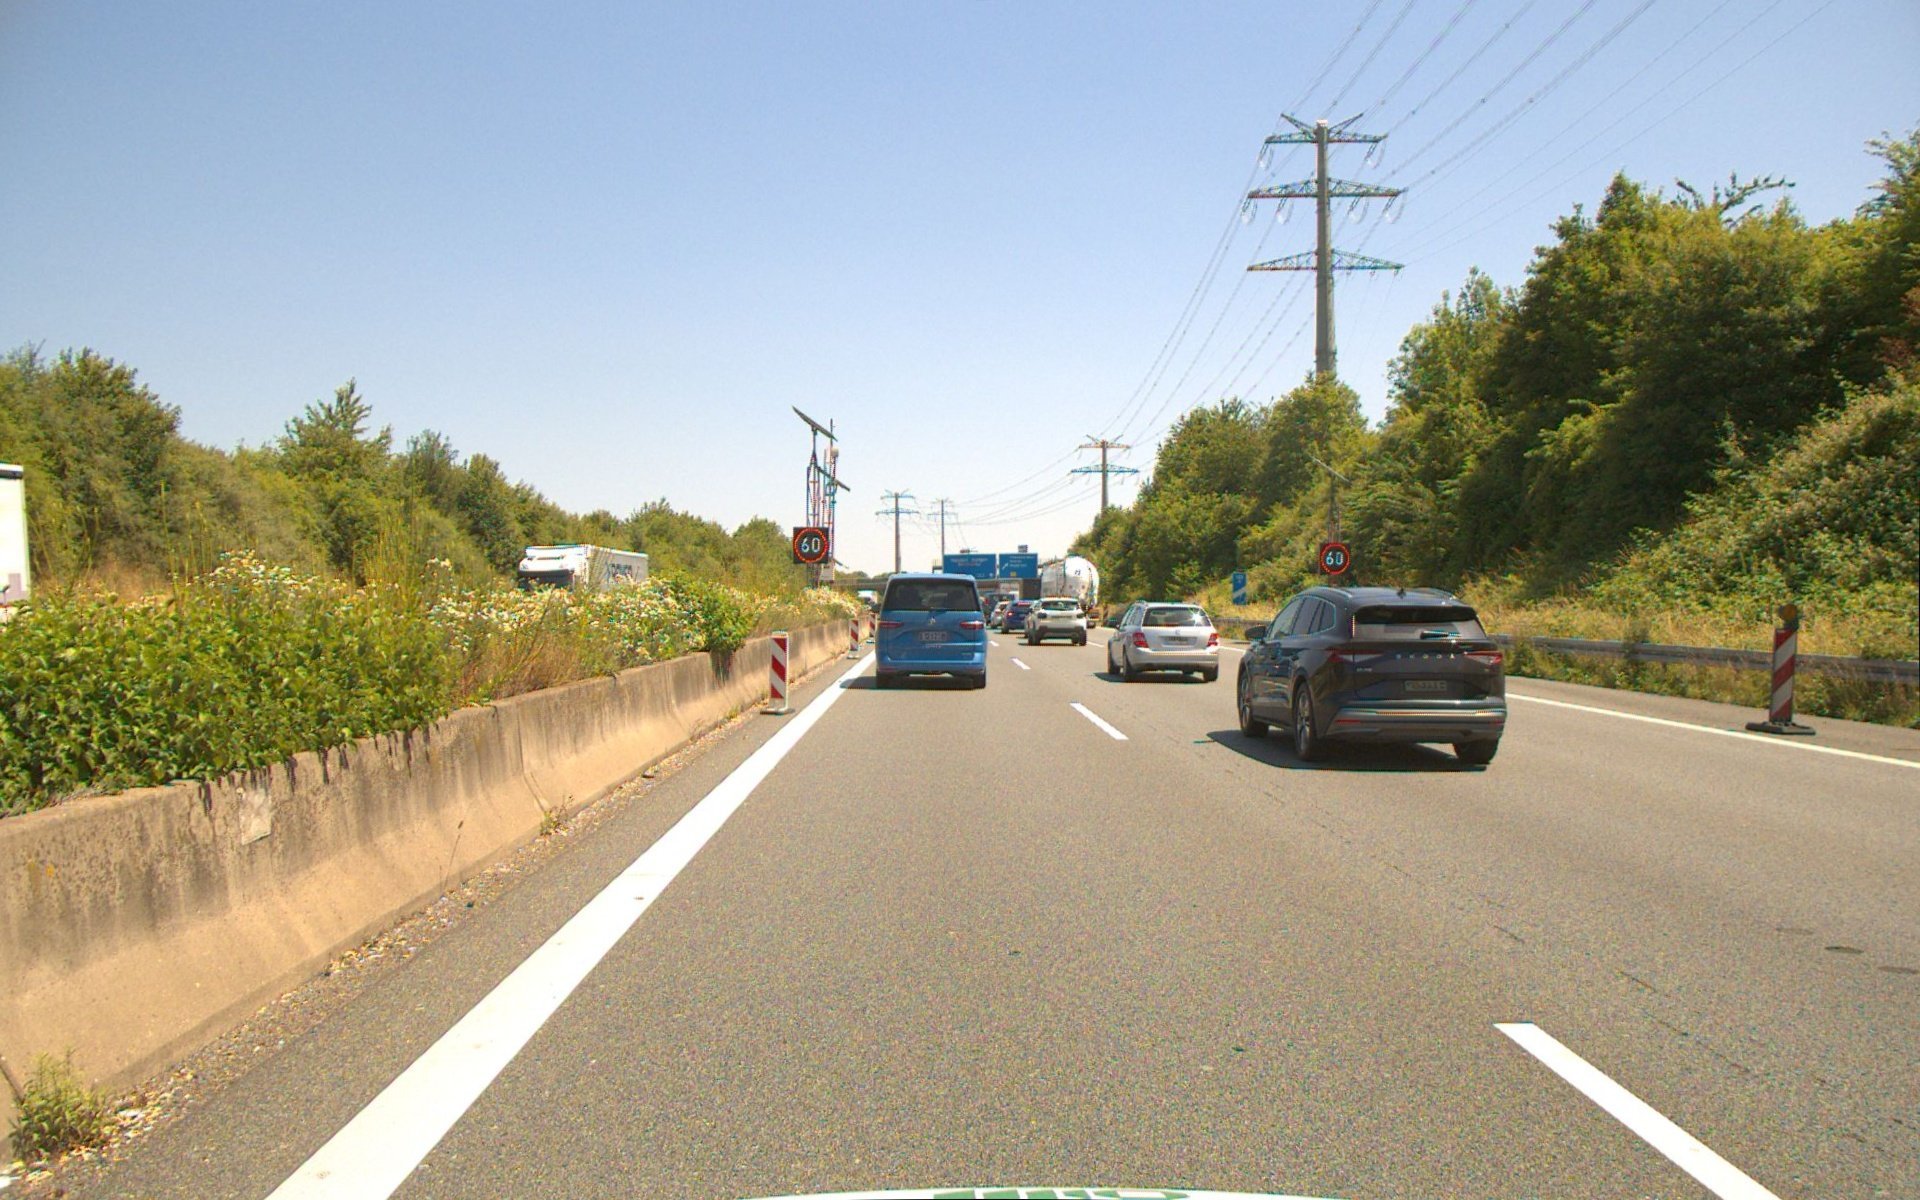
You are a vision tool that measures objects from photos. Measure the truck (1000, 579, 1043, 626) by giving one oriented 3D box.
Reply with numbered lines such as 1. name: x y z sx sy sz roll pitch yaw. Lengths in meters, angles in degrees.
1. truck: 4.948 0.195 134.720 2.591 3.600 12.546 1 0 -2

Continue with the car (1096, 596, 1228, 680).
1. car: 3.799 0.682 31.819 1.784 1.462 4.381 1 0 -3

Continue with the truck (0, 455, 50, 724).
1. truck: -15.358 -0.089 20.928 2.707 3.956 9.026 -3 0 -2

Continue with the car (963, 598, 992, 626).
1. car: 1.314 0.904 125.297 1.953 2.049 3.998 1 0 -2

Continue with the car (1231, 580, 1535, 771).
1. car: 4.054 0.648 16.622 1.791 1.642 4.429 1 0 -2

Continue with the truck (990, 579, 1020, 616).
1. truck: 5.562 -0.330 205.139 2.879 4.366 12.546 1 0 -2

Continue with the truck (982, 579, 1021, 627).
1. truck: 2.506 0.169 100.845 1.953 2.771 5.677 1 0 -2

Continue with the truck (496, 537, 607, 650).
1. truck: -16.523 -0.270 67.273 2.956 4.239 5.804 -3 0 -1

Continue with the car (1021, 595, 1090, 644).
1. car: 3.150 0.639 55.376 1.870 1.534 3.919 1 0 -3

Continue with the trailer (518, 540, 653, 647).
1. trailer: -16.693 -0.262 75.052 2.956 4.239 14.017 -3 0 -1

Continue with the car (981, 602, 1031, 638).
1. car: 2.032 0.889 74.321 1.870 1.542 4.381 1 0 -3

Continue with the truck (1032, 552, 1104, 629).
1. truck: 6.184 -0.511 97.557 2.591 4.143 16.434 1 0 -2

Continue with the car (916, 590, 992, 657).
1. car: -0.203 0.586 43.632 1.870 1.659 4.382 0 0 -2

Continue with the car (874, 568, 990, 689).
1. car: -0.564 0.465 28.935 1.834 1.912 4.381 1 0 -3

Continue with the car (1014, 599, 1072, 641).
1. car: 3.293 0.762 66.249 1.870 1.597 4.381 1 0 -3

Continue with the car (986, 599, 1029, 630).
1. car: 2.467 0.755 86.933 1.870 1.542 4.381 1 0 -3
